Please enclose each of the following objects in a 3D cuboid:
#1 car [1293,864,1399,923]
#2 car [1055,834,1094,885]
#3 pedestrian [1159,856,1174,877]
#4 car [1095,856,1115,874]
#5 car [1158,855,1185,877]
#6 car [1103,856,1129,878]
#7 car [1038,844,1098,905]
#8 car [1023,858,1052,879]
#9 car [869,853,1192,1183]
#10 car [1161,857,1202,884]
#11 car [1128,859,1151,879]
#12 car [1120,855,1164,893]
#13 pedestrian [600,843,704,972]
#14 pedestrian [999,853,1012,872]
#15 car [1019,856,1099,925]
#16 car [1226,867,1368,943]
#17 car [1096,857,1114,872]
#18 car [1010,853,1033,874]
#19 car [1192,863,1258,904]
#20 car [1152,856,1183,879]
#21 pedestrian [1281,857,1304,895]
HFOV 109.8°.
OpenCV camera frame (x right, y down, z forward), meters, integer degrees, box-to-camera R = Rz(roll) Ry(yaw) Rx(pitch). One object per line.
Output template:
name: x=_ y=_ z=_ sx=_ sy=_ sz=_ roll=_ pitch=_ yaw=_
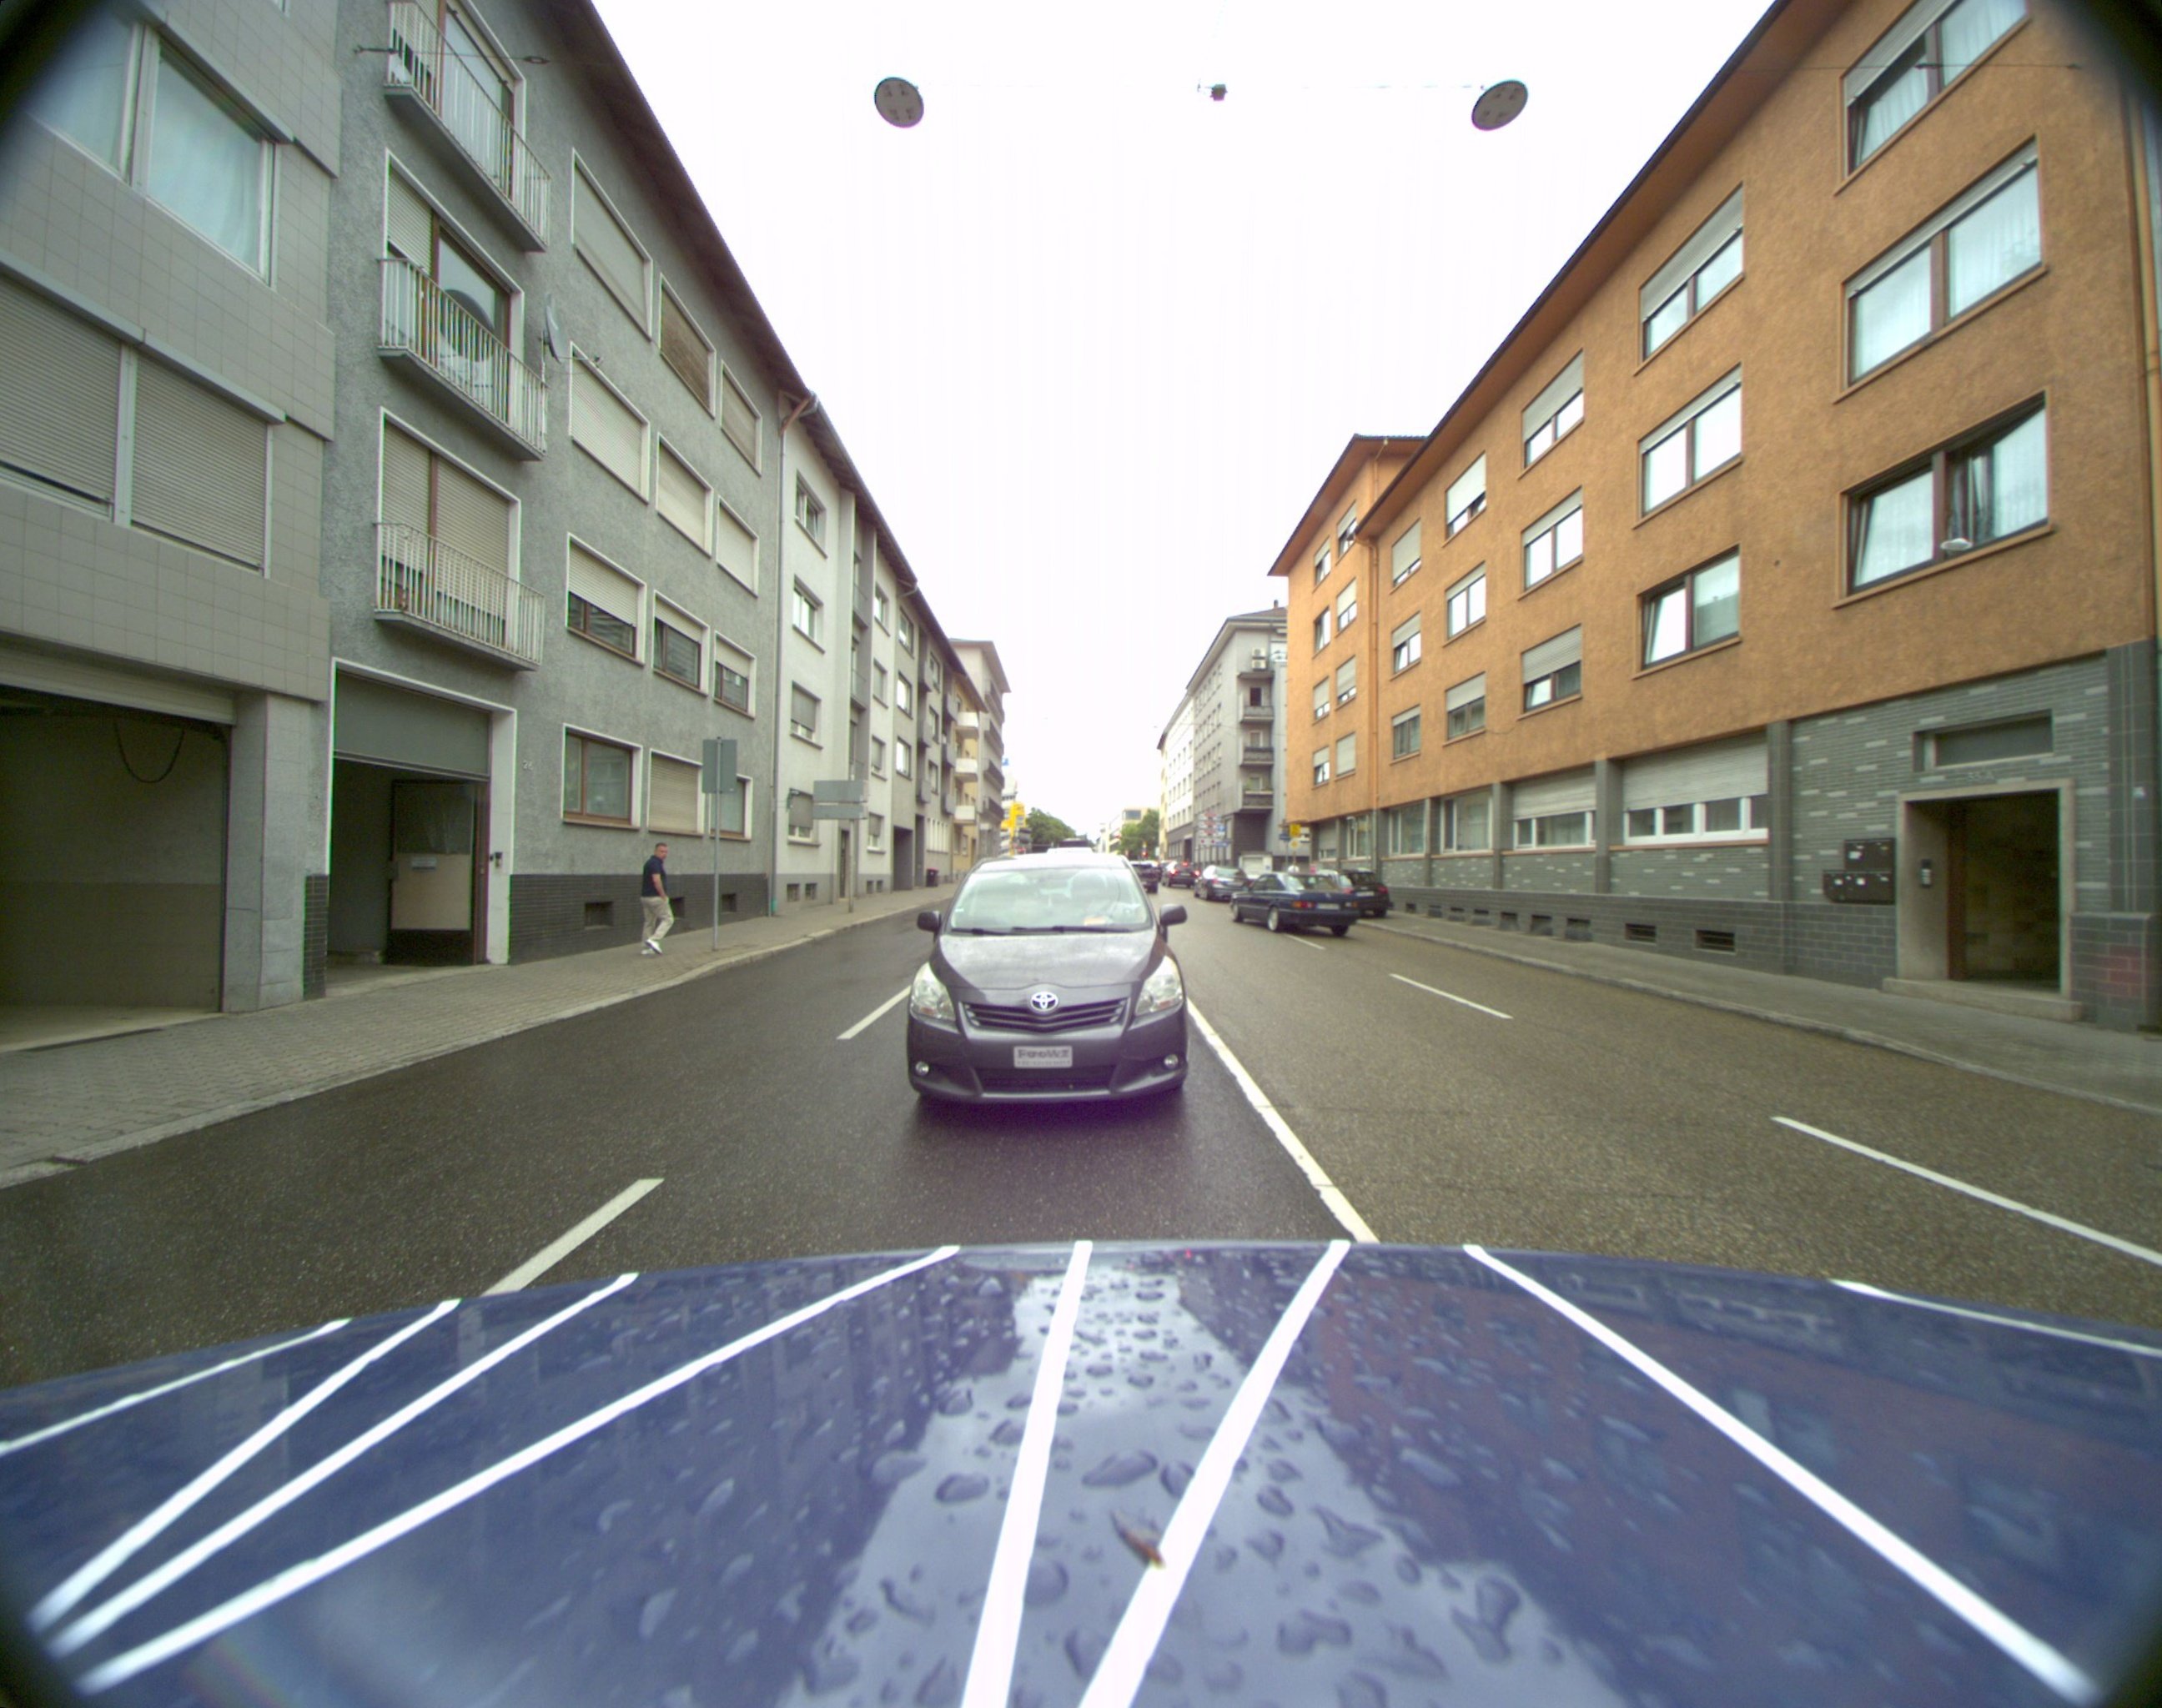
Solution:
car: x=8.048 y=1.140 z=23.477 sx=1.799 sy=1.466 sz=4.217 roll=-2 pitch=1 yaw=1
car: x=-0.328 y=0.289 z=43.661 sx=2.033 sy=2.731 sz=4.368 roll=-2 pitch=1 yaw=1
pedestrian: x=8.603 y=1.262 z=76.631 sx=1.309 sy=2.002 sz=1.258 roll=-2 pitch=1 yaw=1
car: x=2.200 y=1.000 z=71.832 sx=1.622 sy=1.530 sz=4.216 roll=2 pitch=1 yaw=-1
car: x=7.818 y=0.980 z=65.769 sx=1.856 sy=1.712 sz=4.217 roll=-2 pitch=1 yaw=1
car: x=2.468 y=0.896 z=54.460 sx=1.699 sy=1.362 sz=4.217 roll=2 pitch=1 yaw=1
car: x=-0.392 y=0.631 z=26.617 sx=1.856 sy=1.882 sz=4.217 roll=-2 pitch=1 yaw=1
car: x=-3.286 y=1.084 z=58.132 sx=1.856 sy=1.369 sz=4.217 roll=-2 pitch=1 yaw=1
car: x=-0.247 y=0.899 z=6.269 sx=1.699 sy=1.712 sz=4.217 roll=-2 pitch=1 yaw=1
car: x=5.954 y=0.968 z=45.379 sx=1.727 sy=1.464 sz=4.373 roll=2 pitch=0 yaw=-1
car: x=5.456 y=1.353 z=71.675 sx=1.856 sy=1.651 sz=4.610 roll=-2 pitch=1 yaw=1
car: x=2.884 y=0.901 z=36.663 sx=1.699 sy=1.571 sz=4.216 roll=2 pitch=1 yaw=0
pedestrian: x=-6.614 y=0.786 z=11.779 sx=0.871 sy=1.855 sz=1.120 roll=4 pitch=1 yaw=1
pedestrian: x=-6.980 y=0.744 z=70.420 sx=1.119 sy=1.741 sz=0.961 roll=1 pitch=1 yaw=-5
car: x=-0.501 y=0.888 z=20.112 sx=1.856 sy=1.524 sz=3.792 roll=-2 pitch=1 yaw=1
car: x=4.855 y=1.099 z=17.786 sx=1.603 sy=1.362 sz=4.359 roll=3 pitch=0 yaw=-6
car: x=2.570 y=1.146 z=83.562 sx=1.749 sy=1.530 sz=4.052 roll=2 pitch=1 yaw=-1
car: x=-5.128 y=0.779 z=65.902 sx=1.856 sy=1.663 sz=4.215 roll=-2 pitch=1 yaw=-4
car: x=5.781 y=1.160 z=30.964 sx=1.699 sy=1.362 sz=4.365 roll=3 pitch=1 yaw=-1
car: x=6.521 y=0.985 z=57.664 sx=1.699 sy=1.530 sz=4.435 roll=4 pitch=1 yaw=0
pedestrian: x=9.473 y=0.971 z=34.071 sx=0.768 sy=1.630 sz=1.023 roll=-2 pitch=1 yaw=5
